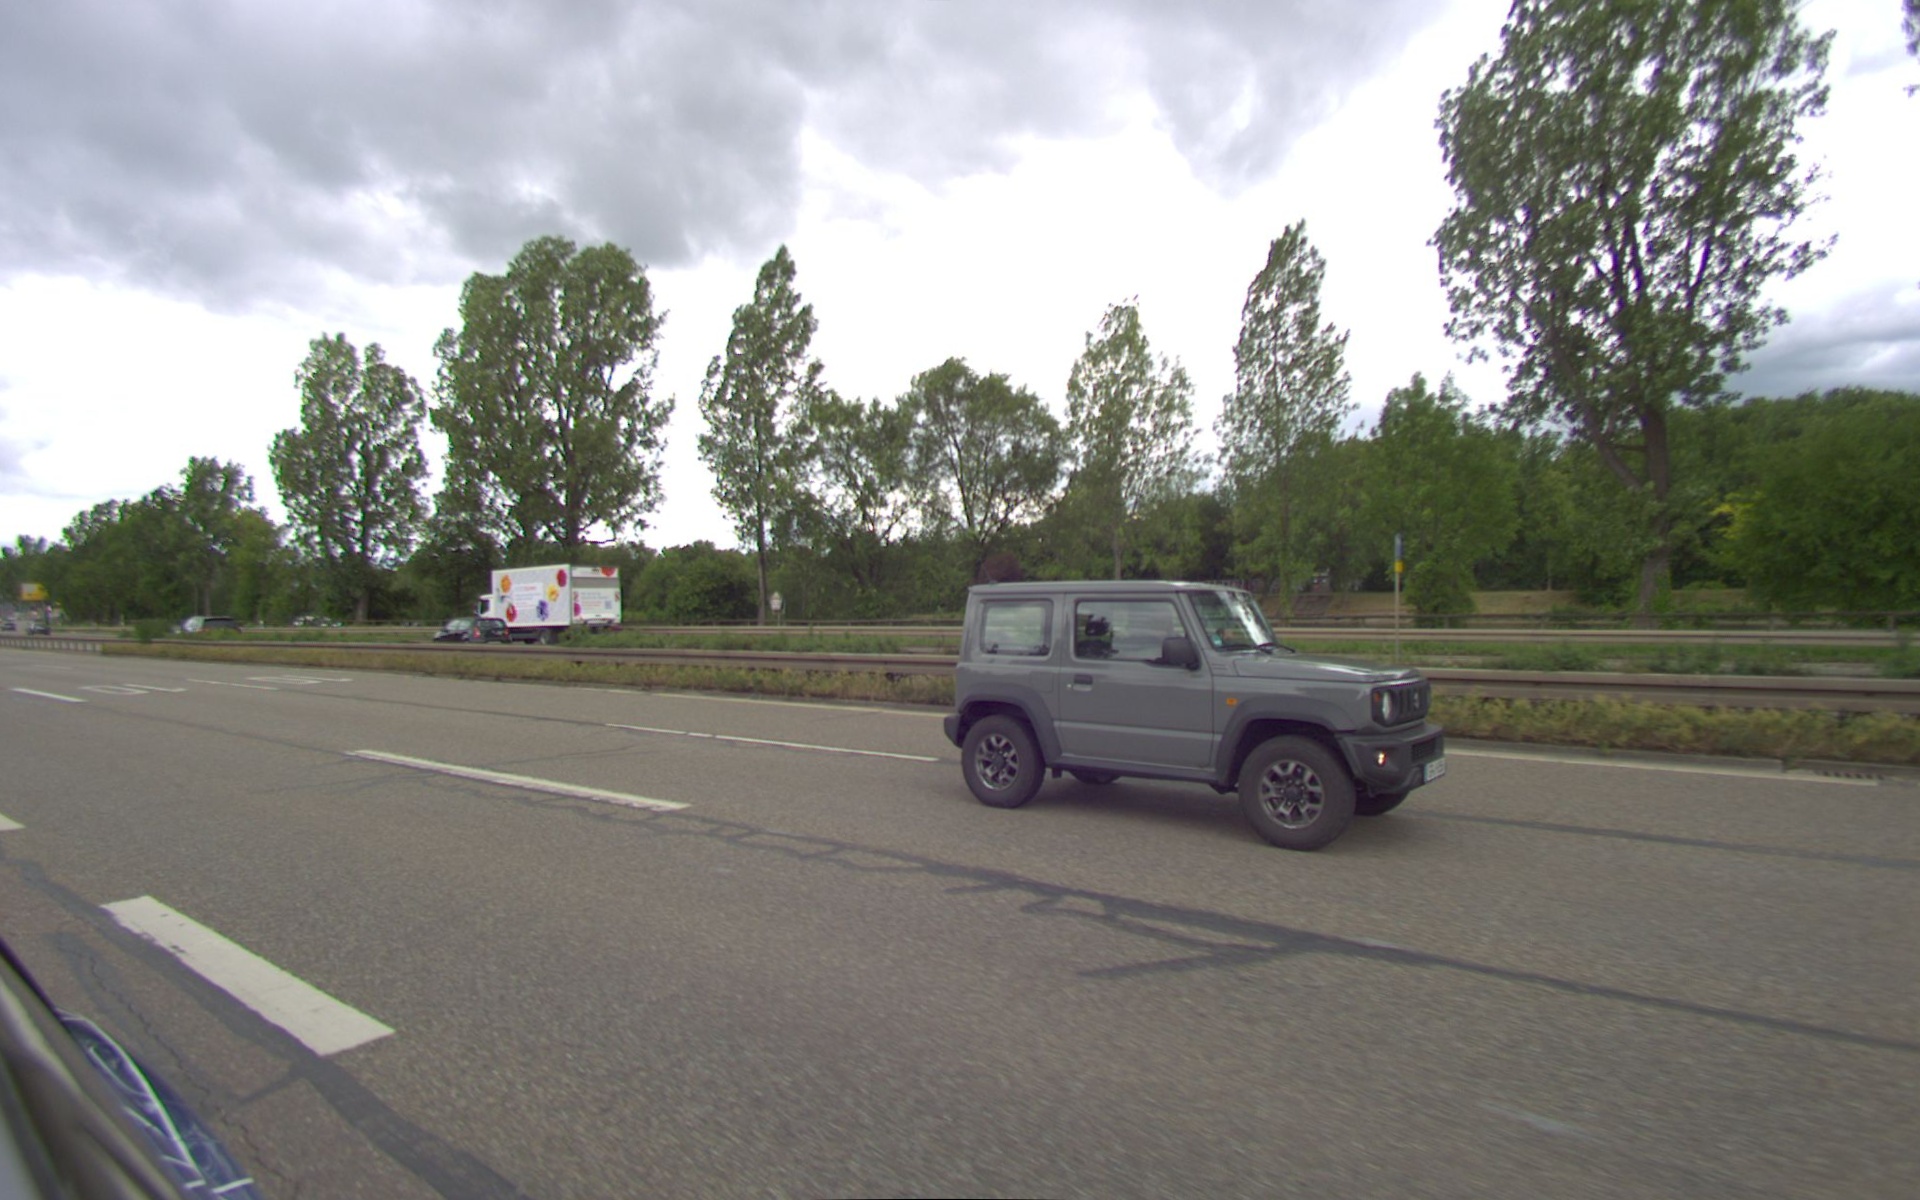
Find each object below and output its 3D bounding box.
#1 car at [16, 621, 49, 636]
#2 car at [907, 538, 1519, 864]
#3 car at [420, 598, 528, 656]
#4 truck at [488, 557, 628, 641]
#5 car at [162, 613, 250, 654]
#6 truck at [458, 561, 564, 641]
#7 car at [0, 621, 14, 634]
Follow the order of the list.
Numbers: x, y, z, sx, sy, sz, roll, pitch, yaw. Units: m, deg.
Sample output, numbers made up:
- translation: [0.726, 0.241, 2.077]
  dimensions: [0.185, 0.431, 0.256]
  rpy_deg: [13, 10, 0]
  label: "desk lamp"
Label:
- translation: [-107.354, 3.308, 117.129]
  dimensions: [4.641, 1.621, 1.976]
  rpy_deg: [-2, 1, 37]
  label: "car"
- translation: [1.652, 0.573, 7.363]
  dimensions: [3.994, 1.749, 1.664]
  rpy_deg: [-1, -1, 39]
  label: "car"
- translation: [-18.733, 1.022, 38.969]
  dimensions: [3.990, 2.028, 1.977]
  rpy_deg: [-1, 1, 35]
  label: "car"
- translation: [-18.882, -0.020, 47.423]
  dimensions: [6.321, 3.670, 2.958]
  rpy_deg: [-2, 1, 34]
  label: "truck"
- translation: [-36.255, 1.596, 48.611]
  dimensions: [5.515, 1.743, 1.829]
  rpy_deg: [-1, 2, 37]
  label: "car"
- translation: [-21.967, 0.038, 49.541]
  dimensions: [3.990, 3.670, 2.960]
  rpy_deg: [-2, 1, 34]
  label: "truck"
- translation: [-160.299, 4.568, 169.934]
  dimensions: [1.970, 2.029, 5.228]
  rpy_deg: [-3, 0, -42]
  label: "car"
